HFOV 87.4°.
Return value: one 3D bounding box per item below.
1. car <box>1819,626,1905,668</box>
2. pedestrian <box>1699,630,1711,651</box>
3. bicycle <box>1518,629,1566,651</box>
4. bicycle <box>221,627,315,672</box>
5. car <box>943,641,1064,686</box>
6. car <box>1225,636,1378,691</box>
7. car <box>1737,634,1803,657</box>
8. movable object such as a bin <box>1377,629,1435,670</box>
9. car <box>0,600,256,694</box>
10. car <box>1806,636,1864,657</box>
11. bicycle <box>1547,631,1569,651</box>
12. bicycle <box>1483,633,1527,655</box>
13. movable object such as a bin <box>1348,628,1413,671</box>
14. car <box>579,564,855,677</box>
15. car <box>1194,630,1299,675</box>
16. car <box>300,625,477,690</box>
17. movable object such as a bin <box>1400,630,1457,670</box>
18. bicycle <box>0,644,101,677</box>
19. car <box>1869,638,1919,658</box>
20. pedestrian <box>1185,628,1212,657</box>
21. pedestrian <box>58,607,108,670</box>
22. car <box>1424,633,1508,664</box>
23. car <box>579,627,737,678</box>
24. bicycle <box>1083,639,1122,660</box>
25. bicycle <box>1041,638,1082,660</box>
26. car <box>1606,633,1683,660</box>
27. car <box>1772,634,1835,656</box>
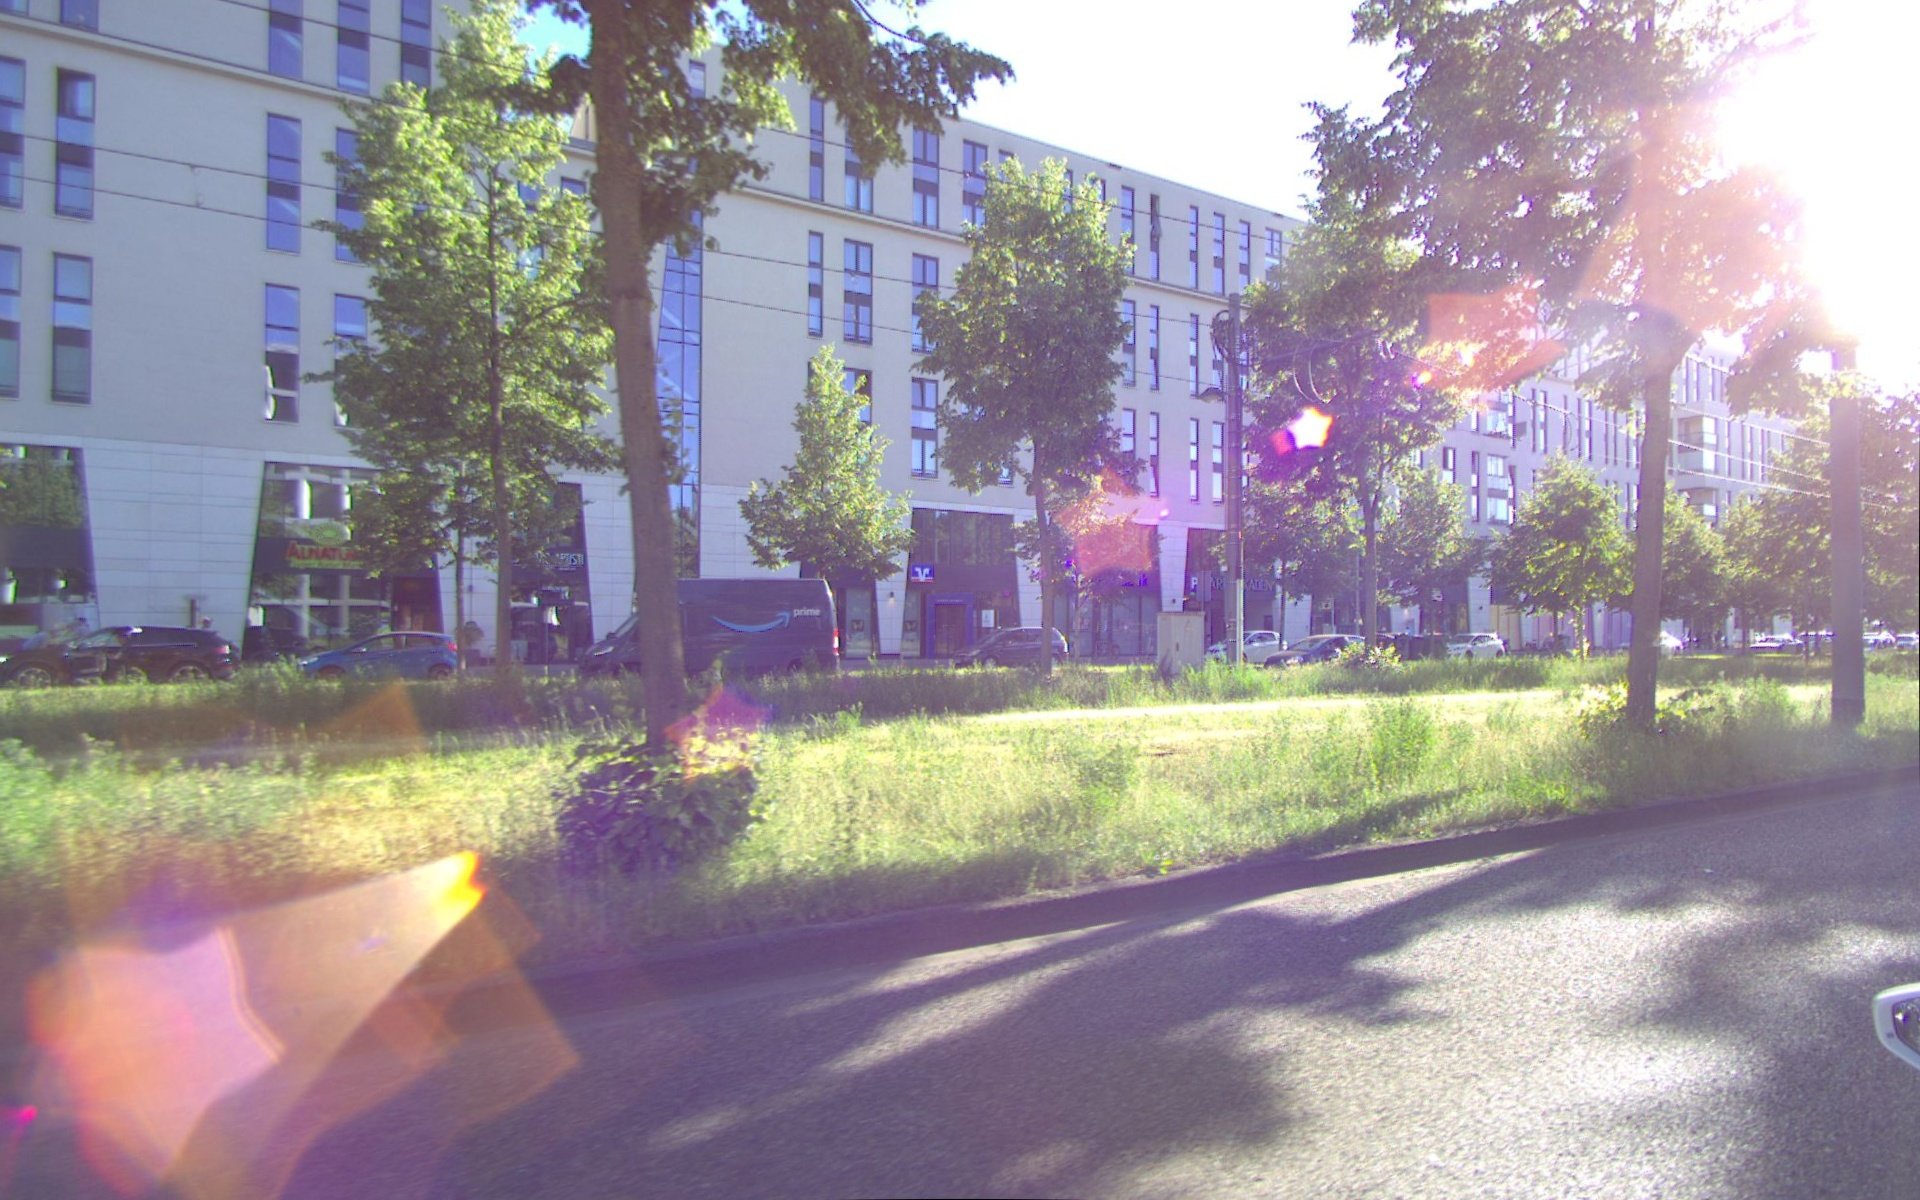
[{"bbox_3d":[46.214,2.407,51.448,3.949,2.040,1.986,2,0,-27],"label":"car"},{"bbox_3d":[62.293,3.377,83.959,0.713,1.673,0.631,2,0,-37],"label":"pedestrian"},{"bbox_3d":[38.338,2.631,66.164,2.723,1.298,0.948,2,0,32],"label":"bicycle"},{"bbox_3d":[-21.452,1.542,31.189,2.303,1.342,0.660,2,0,-24],"label":"bicycle"},{"bbox_3d":[1.599,2.240,36.194,4.226,1.499,1.549,1,-1,-33],"label":"car"},{"bbox_3d":[10.330,1.888,30.347,4.404,1.460,1.984,2,0,-30],"label":"car"},{"bbox_3d":[54.768,3.068,67.883,4.724,1.460,1.983,2,0,-31],"label":"car"},{"bbox_3d":[21.139,2.333,47.648,1.538,1.818,1.960,2,0,-31],"label":"movable object such as a bin"},{"bbox_3d":[-19.682,1.094,24.016,4.505,2.040,1.982,1,-2,-33],"label":"car"},{"bbox_3d":[63.739,3.384,73.174,4.407,1.460,1.982,2,0,-32],"label":"car"},{"bbox_3d":[40.139,2.770,67.457,1.590,1.298,0.594,2,0,-32],"label":"bicycle"},{"bbox_3d":[34.773,2.824,64.129,2.732,1.298,0.945,2,0,-23],"label":"bicycle"},{"bbox_3d":[19.446,2.275,46.513,1.988,1.818,1.959,2,0,-32],"label":"movable object such as a bin"},{"bbox_3d":[-5.778,0.503,24.221,5.964,2.413,2.491,2,0,-33],"label":"car"},{"bbox_3d":[12.299,2.244,43.080,4.291,1.752,1.982,2,0,-32],"label":"car"},{"bbox_3d":[-15.148,1.490,26.806,3.952,1.592,1.984,1,-2,-30],"label":"car"},{"bbox_3d":[22.660,2.385,48.575,1.538,1.818,1.960,2,0,-31],"label":"movable object such as a bin"},{"bbox_3d":[-25.722,1.706,28.209,2.300,0.859,0.661,2,0,-20],"label":"bicycle"},{"bbox_3d":[74.072,3.828,79.531,4.407,1.460,1.982,2,0,-32],"label":"car"},{"bbox_3d":[12.588,2.247,53.089,1.018,1.487,0.939,2,0,-39],"label":"pedestrian"},{"bbox_3d":[-26.554,1.157,30.426,0.951,1.880,0.654,2,0,-26],"label":"pedestrian"},{"bbox_3d":[25.390,2.427,50.405,3.975,1.460,1.982,2,0,-32],"label":"car"},{"bbox_3d":[-9.111,1.554,30.409,4.291,1.432,1.713,1,-2,-33],"label":"car"},{"bbox_3d":[6.783,2.370,47.898,1.825,0.966,0.577,2,0,-28],"label":"bicycle"},{"bbox_3d":[4.726,2.287,46.752,1.823,1.001,0.616,2,0,-25],"label":"bicycle"},{"bbox_3d":[40.664,2.761,59.639,4.871,1.460,1.982,2,0,-32],"label":"car"},{"bbox_3d":[58.901,3.154,70.163,4.404,1.460,1.984,2,0,-30],"label":"car"}]
